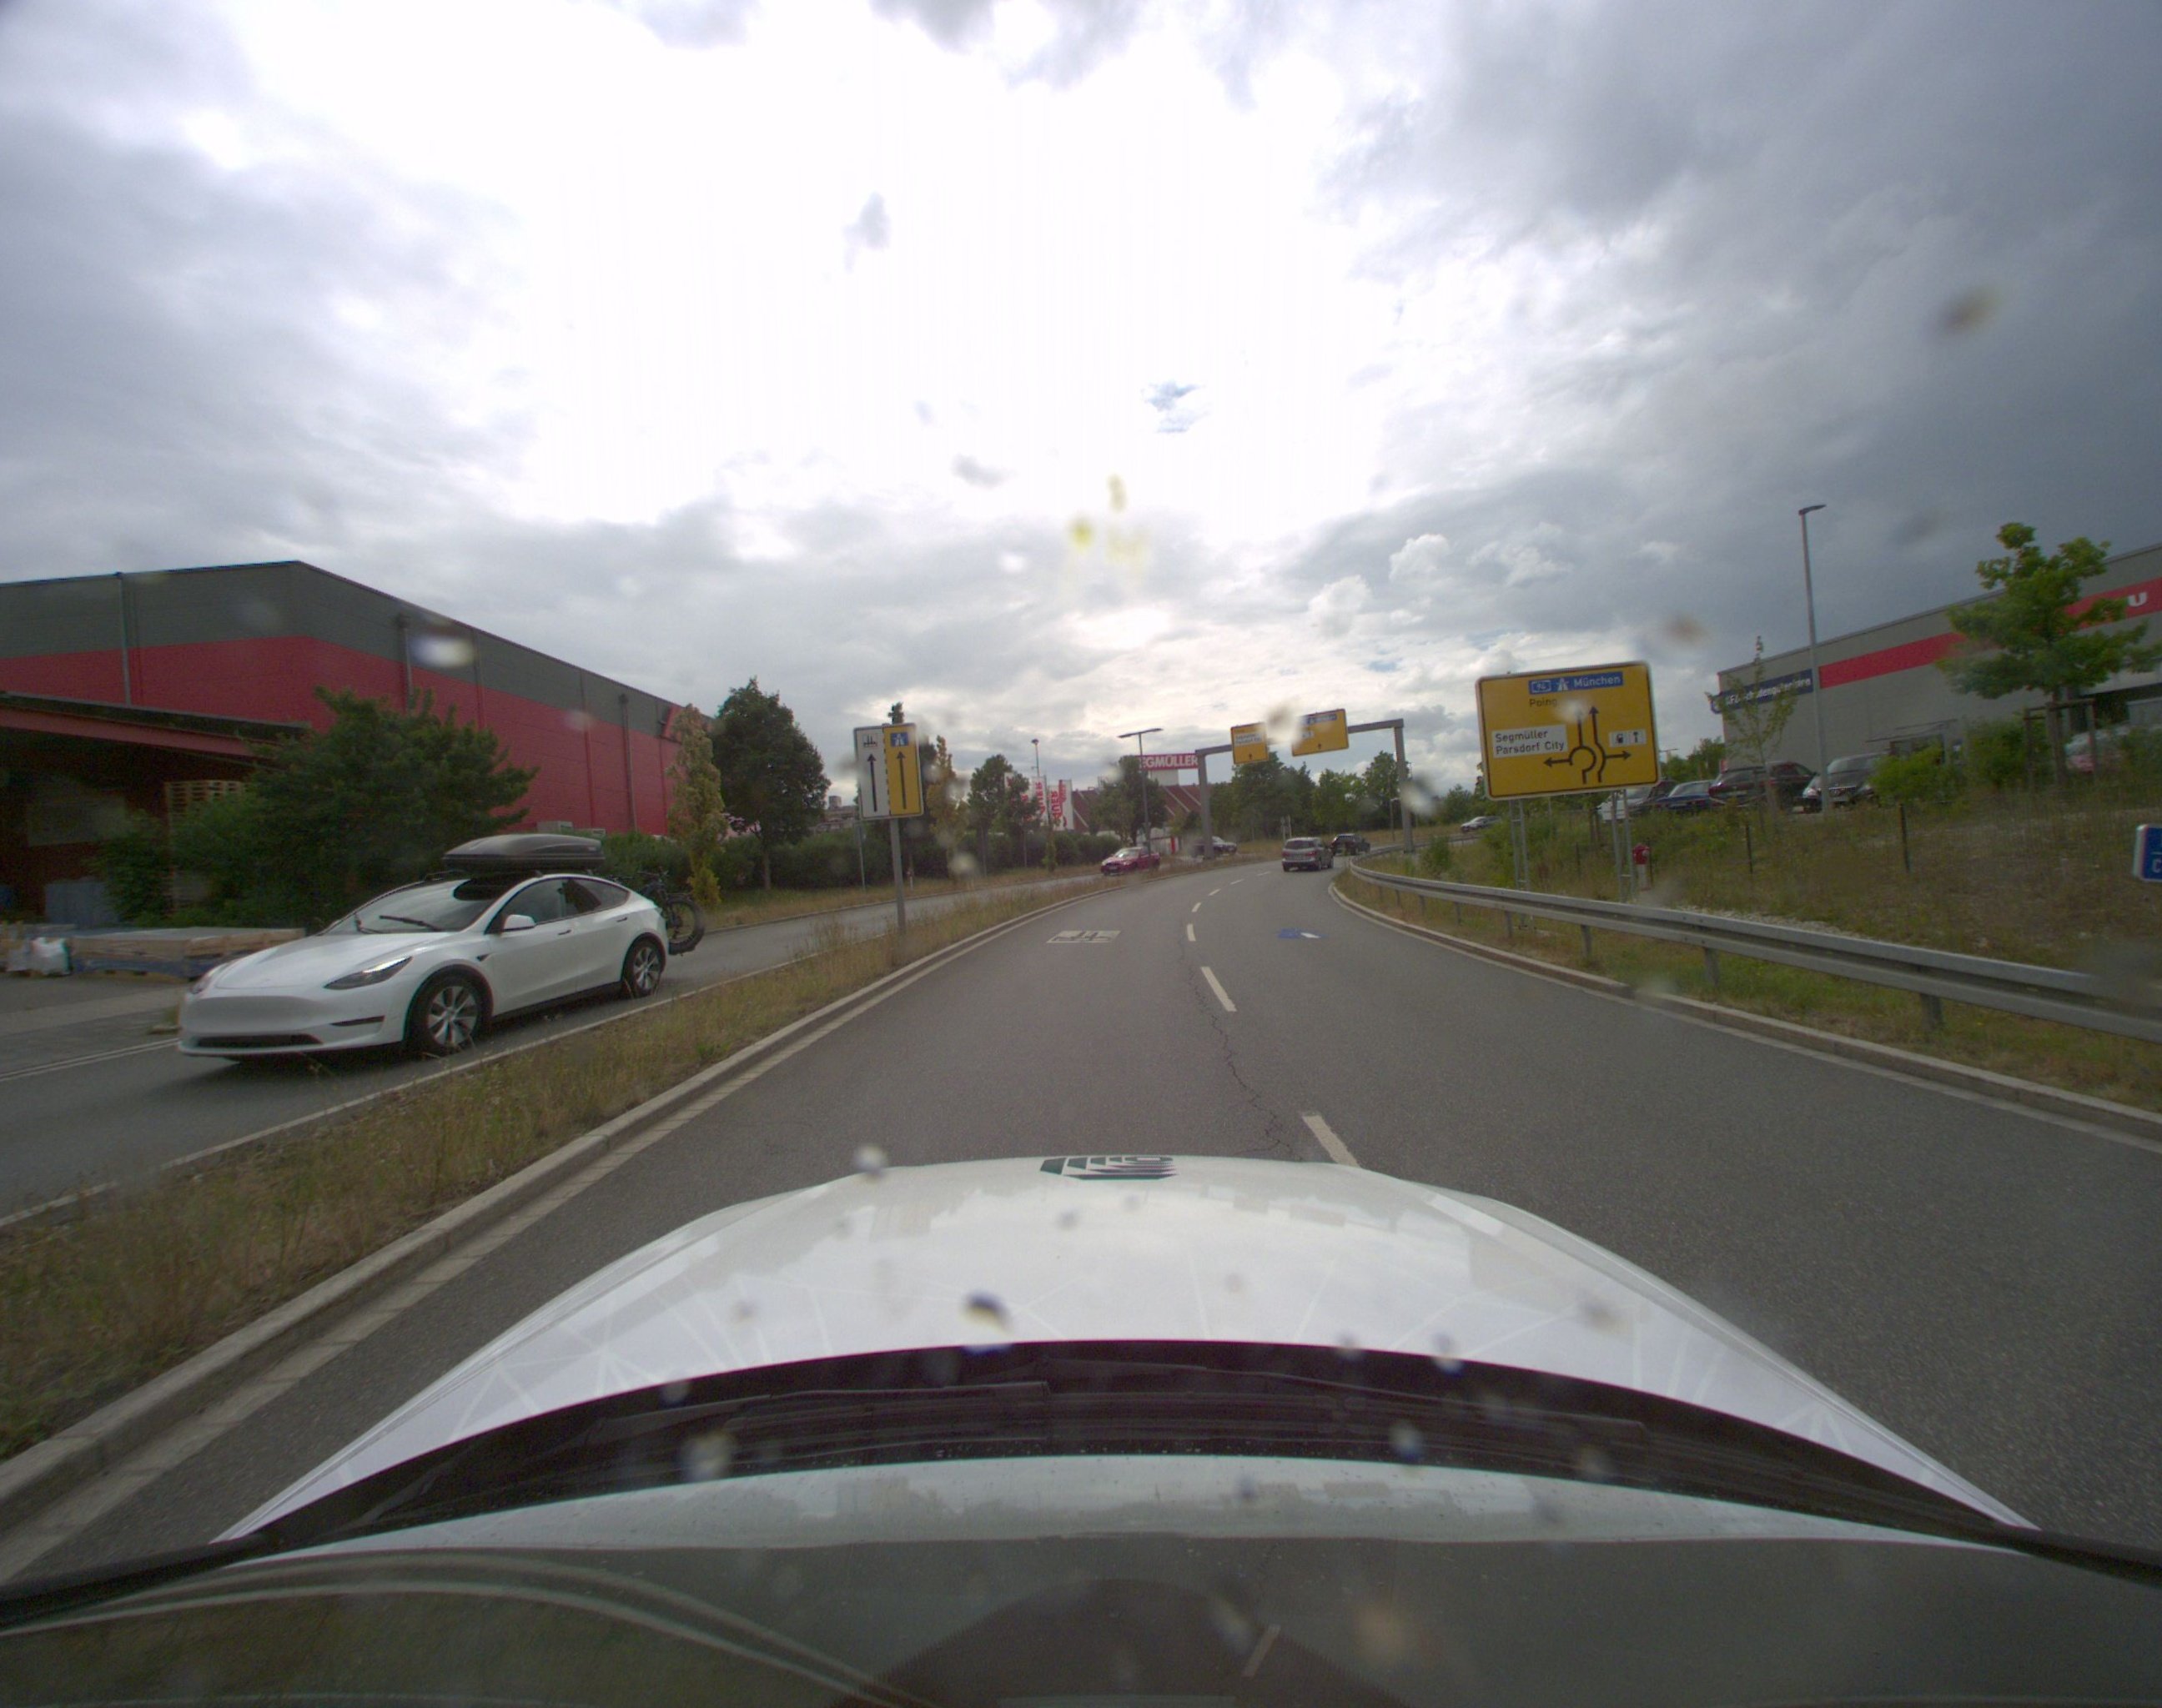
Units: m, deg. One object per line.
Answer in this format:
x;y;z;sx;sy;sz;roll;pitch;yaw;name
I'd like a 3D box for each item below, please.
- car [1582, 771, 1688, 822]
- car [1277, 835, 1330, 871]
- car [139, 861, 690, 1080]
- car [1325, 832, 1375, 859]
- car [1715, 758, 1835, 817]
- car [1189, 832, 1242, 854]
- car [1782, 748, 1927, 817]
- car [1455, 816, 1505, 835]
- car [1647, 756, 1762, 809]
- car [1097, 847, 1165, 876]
21.289;-2.163;31.251;4.184;1.782;1.787;-2;1;-32;car
10.945;-0.079;39.899;1.751;1.616;3.944;-3;0;25;car
-6.413;0.949;8.777;1.901;1.626;4.641;-1;0;3;car
18.108;-0.605;54.783;1.851;1.605;3.758;-4;-1;40;car
21.436;-2.017;25.139;3.743;1.653;1.505;-2;1;-28;car
10.928;-0.877;66.286;1.881;1.549;4.211;-4;1;-33;car
21.689;-2.002;22.829;3.803;1.518;1.678;-6;1;-26;car
39.798;-2.860;81.269;4.692;1.629;1.801;-3;-1;-23;car
21.806;-2.449;28.460;3.868;1.653;1.718;-2;1;-28;car
2.859;0.400;45.377;1.774;1.447;5.002;-1;0;28;car
